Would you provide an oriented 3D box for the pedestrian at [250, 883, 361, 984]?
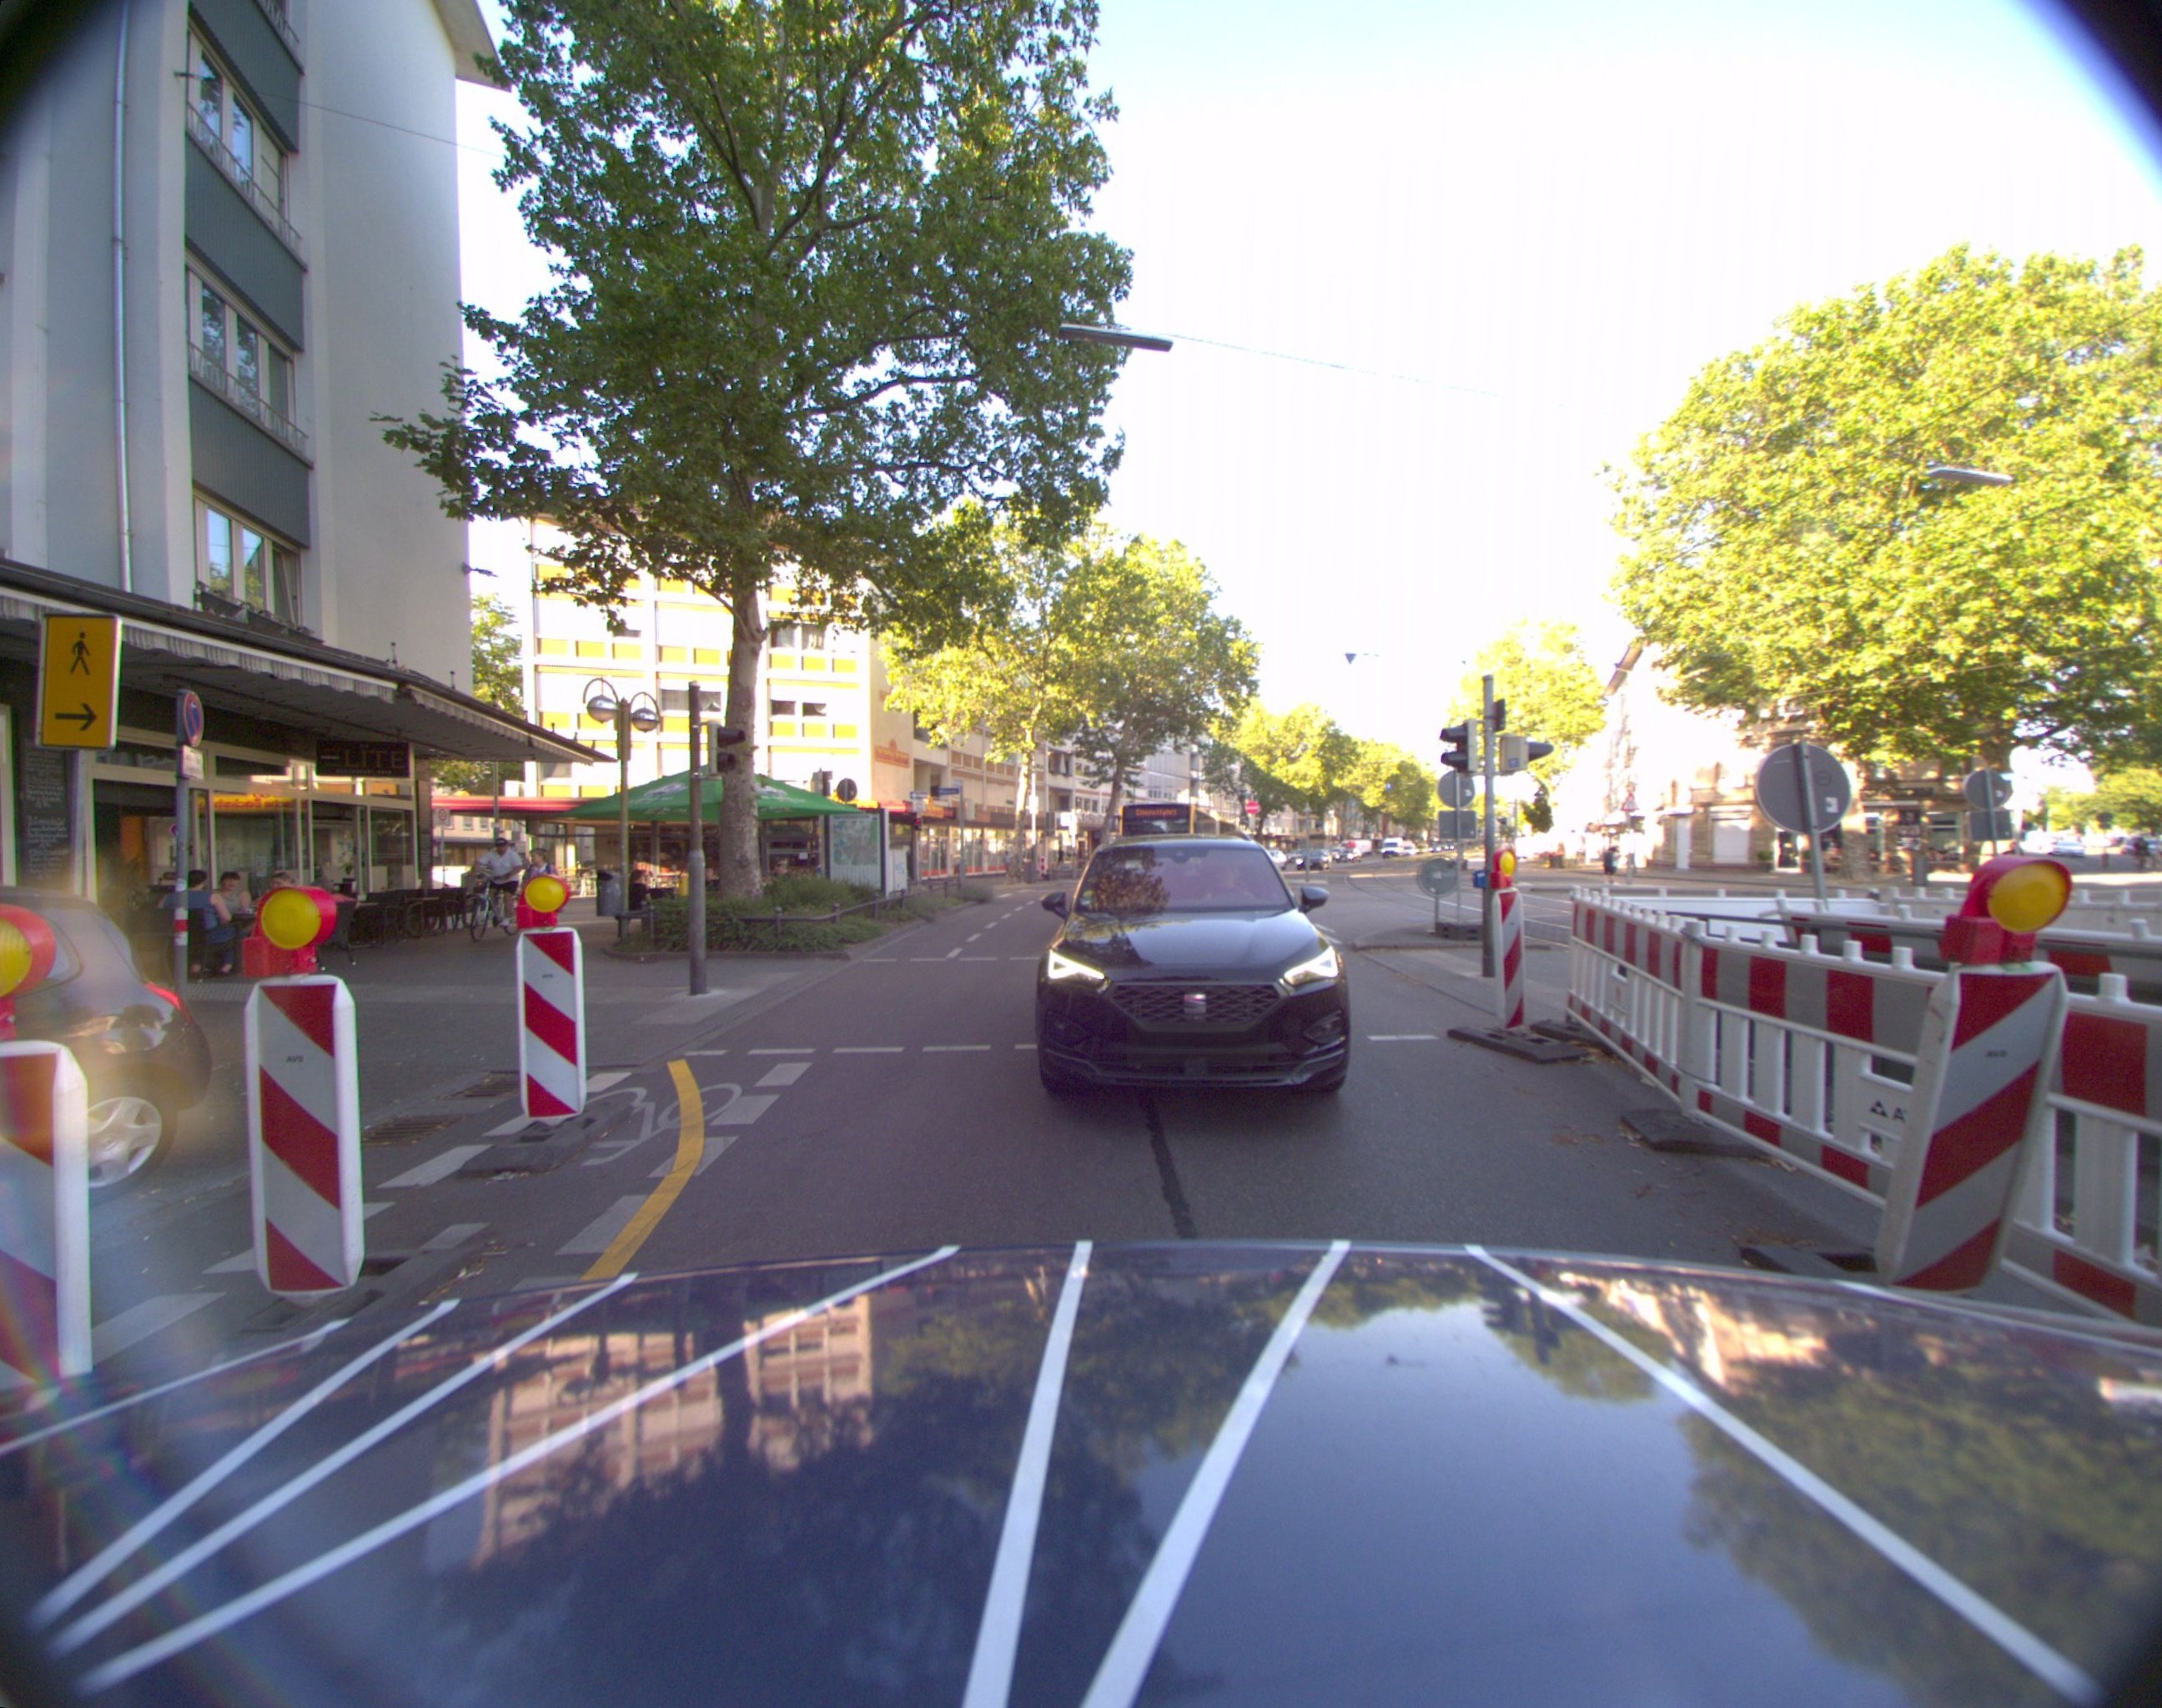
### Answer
[{"bbox_3d":[-9.901,0.982,9.716,0.877,1.186,0.701,0,1,24],"label":"pedestrian"}]

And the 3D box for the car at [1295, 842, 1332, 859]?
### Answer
[{"bbox_3d":[28.418,-0.415,93.047,3.994,2.002,2.001,0,1,8],"label":"car"}]

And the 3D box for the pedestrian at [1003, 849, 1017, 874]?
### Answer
[{"bbox_3d":[-4.163,0.455,44.447,0.627,1.429,0.532,0,1,20],"label":"pedestrian"}]

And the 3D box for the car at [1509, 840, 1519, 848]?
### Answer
[{"bbox_3d":[101.071,-2.335,177.431,1.994,2.002,4.007,0,1,29],"label":"car"}]

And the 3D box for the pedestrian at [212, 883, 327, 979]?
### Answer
[{"bbox_3d":[-10.737,0.993,10.079,0.647,1.186,0.792,0,1,7],"label":"pedestrian"}]

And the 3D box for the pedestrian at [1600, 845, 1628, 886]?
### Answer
[{"bbox_3d":[20.339,0.426,29.005,0.603,1.524,0.745,0,1,12],"label":"pedestrian"}]

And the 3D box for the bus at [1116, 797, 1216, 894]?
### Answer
[{"bbox_3d":[3.486,-0.307,28.743,2.718,3.088,8.629,0,1,13],"label":"bus"}]

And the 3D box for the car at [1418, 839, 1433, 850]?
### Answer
[{"bbox_3d":[57.700,-1.650,127.216,1.836,1.792,4.138,0,1,31],"label":"car"}]

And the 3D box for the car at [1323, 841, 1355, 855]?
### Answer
[{"bbox_3d":[36.566,-0.884,107.936,3.994,2.002,2.001,0,1,8],"label":"car"}]

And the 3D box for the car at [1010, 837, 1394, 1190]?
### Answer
[{"bbox_3d":[0.616,0.755,5.666,1.841,1.696,4.000,-1,1,1],"label":"car"}]

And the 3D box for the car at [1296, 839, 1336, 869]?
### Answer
[{"bbox_3d":[16.621,-0.030,53.582,1.995,2.002,4.007,0,1,27],"label":"car"}]

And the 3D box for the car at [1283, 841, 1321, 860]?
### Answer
[{"bbox_3d":[24.824,-0.386,85.237,3.991,2.002,2.003,0,1,18],"label":"car"}]

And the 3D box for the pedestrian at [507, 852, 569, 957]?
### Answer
[{"bbox_3d":[-8.640,0.781,12.114,0.629,1.628,0.531,-1,1,-15],"label":"pedestrian"}]

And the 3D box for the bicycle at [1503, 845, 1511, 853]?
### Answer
[{"bbox_3d":[60.205,-0.730,107.342,0.850,1.186,2.470,0,1,25],"label":"bicycle"}]

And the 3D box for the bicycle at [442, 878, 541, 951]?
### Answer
[{"bbox_3d":[-10.331,1.018,13.397,0.752,1.123,1.883,0,0,-17],"label":"bicycle"}]

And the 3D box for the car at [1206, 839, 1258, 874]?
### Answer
[{"bbox_3d":[9.281,0.129,46.432,1.995,2.002,4.105,0,1,29],"label":"car"}]

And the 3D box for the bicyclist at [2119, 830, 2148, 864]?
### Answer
[{"bbox_3d":[52.831,-0.354,38.139,0.766,1.718,0.672,-1,1,-22],"label":"bicyclist"}]

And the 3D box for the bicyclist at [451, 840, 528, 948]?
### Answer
[{"bbox_3d":[-10.299,0.667,13.268,0.754,1.816,0.924,-1,1,-18],"label":"bicyclist"}]

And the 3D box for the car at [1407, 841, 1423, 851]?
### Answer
[{"bbox_3d":[49.631,-1.236,112.724,1.700,1.462,3.771,0,1,31],"label":"car"}]

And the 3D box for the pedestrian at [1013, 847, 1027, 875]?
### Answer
[{"bbox_3d":[-3.564,0.402,44.211,0.627,1.577,0.532,0,1,20],"label":"pedestrian"}]

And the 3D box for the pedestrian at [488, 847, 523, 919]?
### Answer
[{"bbox_3d":[-15.856,0.772,20.943,0.650,1.948,0.887,-1,1,-32],"label":"pedestrian"}]

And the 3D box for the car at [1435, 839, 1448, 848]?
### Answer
[{"bbox_3d":[70.650,-2.082,148.838,1.836,1.792,4.138,0,1,31],"label":"car"}]

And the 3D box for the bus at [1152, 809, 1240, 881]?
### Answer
[{"bbox_3d":[5.842,-0.452,37.107,2.717,3.088,8.608,0,1,19],"label":"bus"}]

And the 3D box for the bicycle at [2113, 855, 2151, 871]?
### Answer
[{"bbox_3d":[52.734,0.456,38.108,1.993,0.777,0.680,-1,1,-23],"label":"bicycle"}]

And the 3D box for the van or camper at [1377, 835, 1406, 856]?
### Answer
[{"bbox_3d":[40.418,-1.087,98.786,2.420,2.702,6.144,0,1,32],"label":"van or camper"}]

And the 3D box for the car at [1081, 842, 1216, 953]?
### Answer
[{"bbox_3d":[1.032,0.632,13.330,1.998,1.634,4.075,-1,1,1],"label":"car"}]

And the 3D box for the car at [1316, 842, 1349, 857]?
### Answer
[{"bbox_3d":[34.358,-0.636,103.768,3.994,2.002,2.001,0,1,8],"label":"car"}]

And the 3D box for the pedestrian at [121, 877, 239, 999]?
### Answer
[{"bbox_3d":[-10.395,0.928,8.773,0.789,1.299,0.701,0,1,28],"label":"pedestrian"}]

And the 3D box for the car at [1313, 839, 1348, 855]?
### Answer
[{"bbox_3d":[32.408,-0.864,98.887,3.994,2.002,2.001,0,1,8],"label":"car"}]

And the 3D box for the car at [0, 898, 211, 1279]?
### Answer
[{"bbox_3d":[-5.208,0.969,1.977,1.771,1.459,3.610,2,1,-2],"label":"car"}]

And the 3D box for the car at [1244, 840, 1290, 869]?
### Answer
[{"bbox_3d":[13.583,-0.002,55.311,1.994,2.002,4.008,0,1,33],"label":"car"}]

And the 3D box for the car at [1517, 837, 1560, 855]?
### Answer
[{"bbox_3d":[52.520,-0.974,87.202,4.001,2.002,1.997,-1,1,-13],"label":"car"}]
